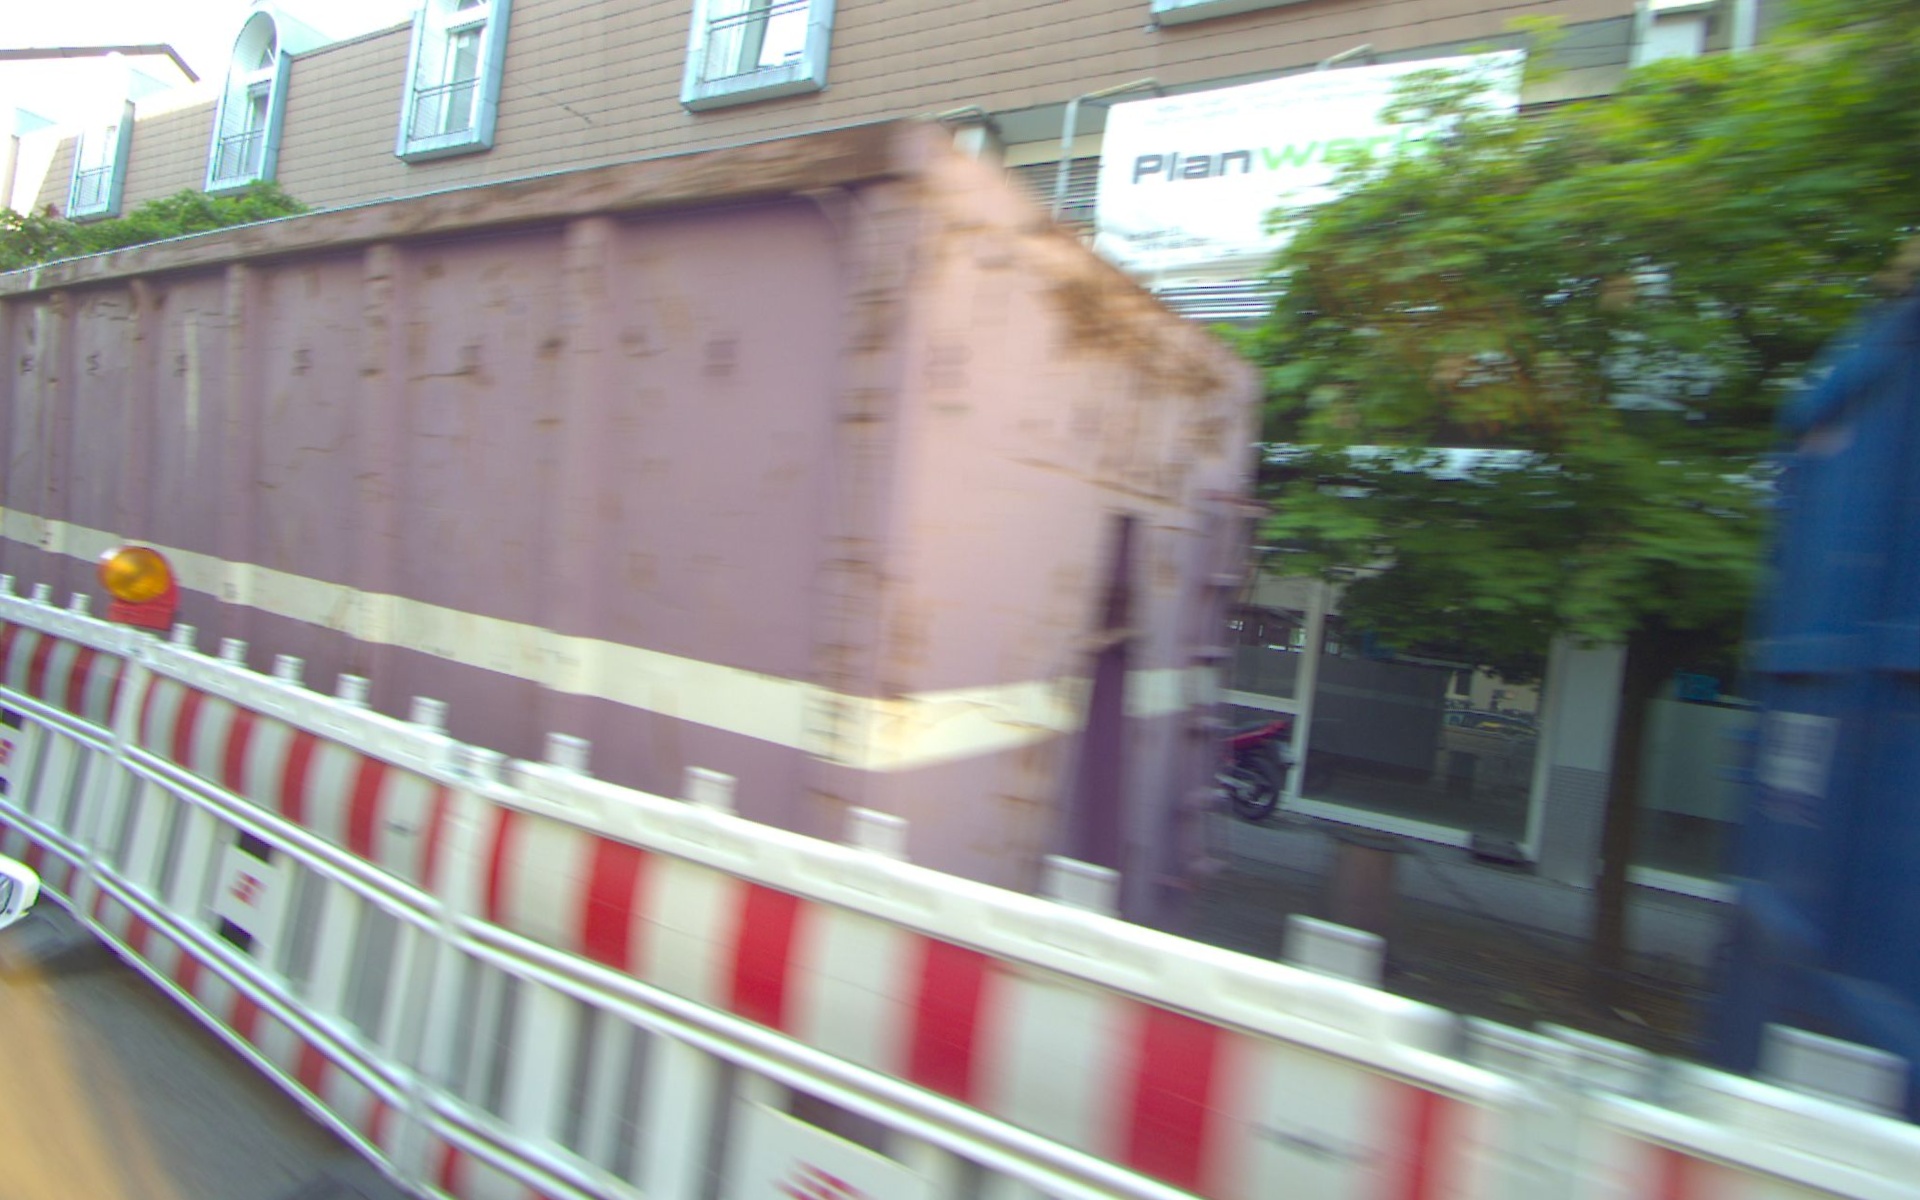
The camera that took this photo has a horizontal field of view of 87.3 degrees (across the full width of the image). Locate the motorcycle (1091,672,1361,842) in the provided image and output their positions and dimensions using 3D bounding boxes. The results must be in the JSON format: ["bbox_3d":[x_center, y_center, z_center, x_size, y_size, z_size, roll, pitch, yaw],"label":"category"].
[{"bbox_3d":[2.589,1.509,10.105,0.867,1.236,2.428,8,-2,-42],"label":"motorcycle"}]
